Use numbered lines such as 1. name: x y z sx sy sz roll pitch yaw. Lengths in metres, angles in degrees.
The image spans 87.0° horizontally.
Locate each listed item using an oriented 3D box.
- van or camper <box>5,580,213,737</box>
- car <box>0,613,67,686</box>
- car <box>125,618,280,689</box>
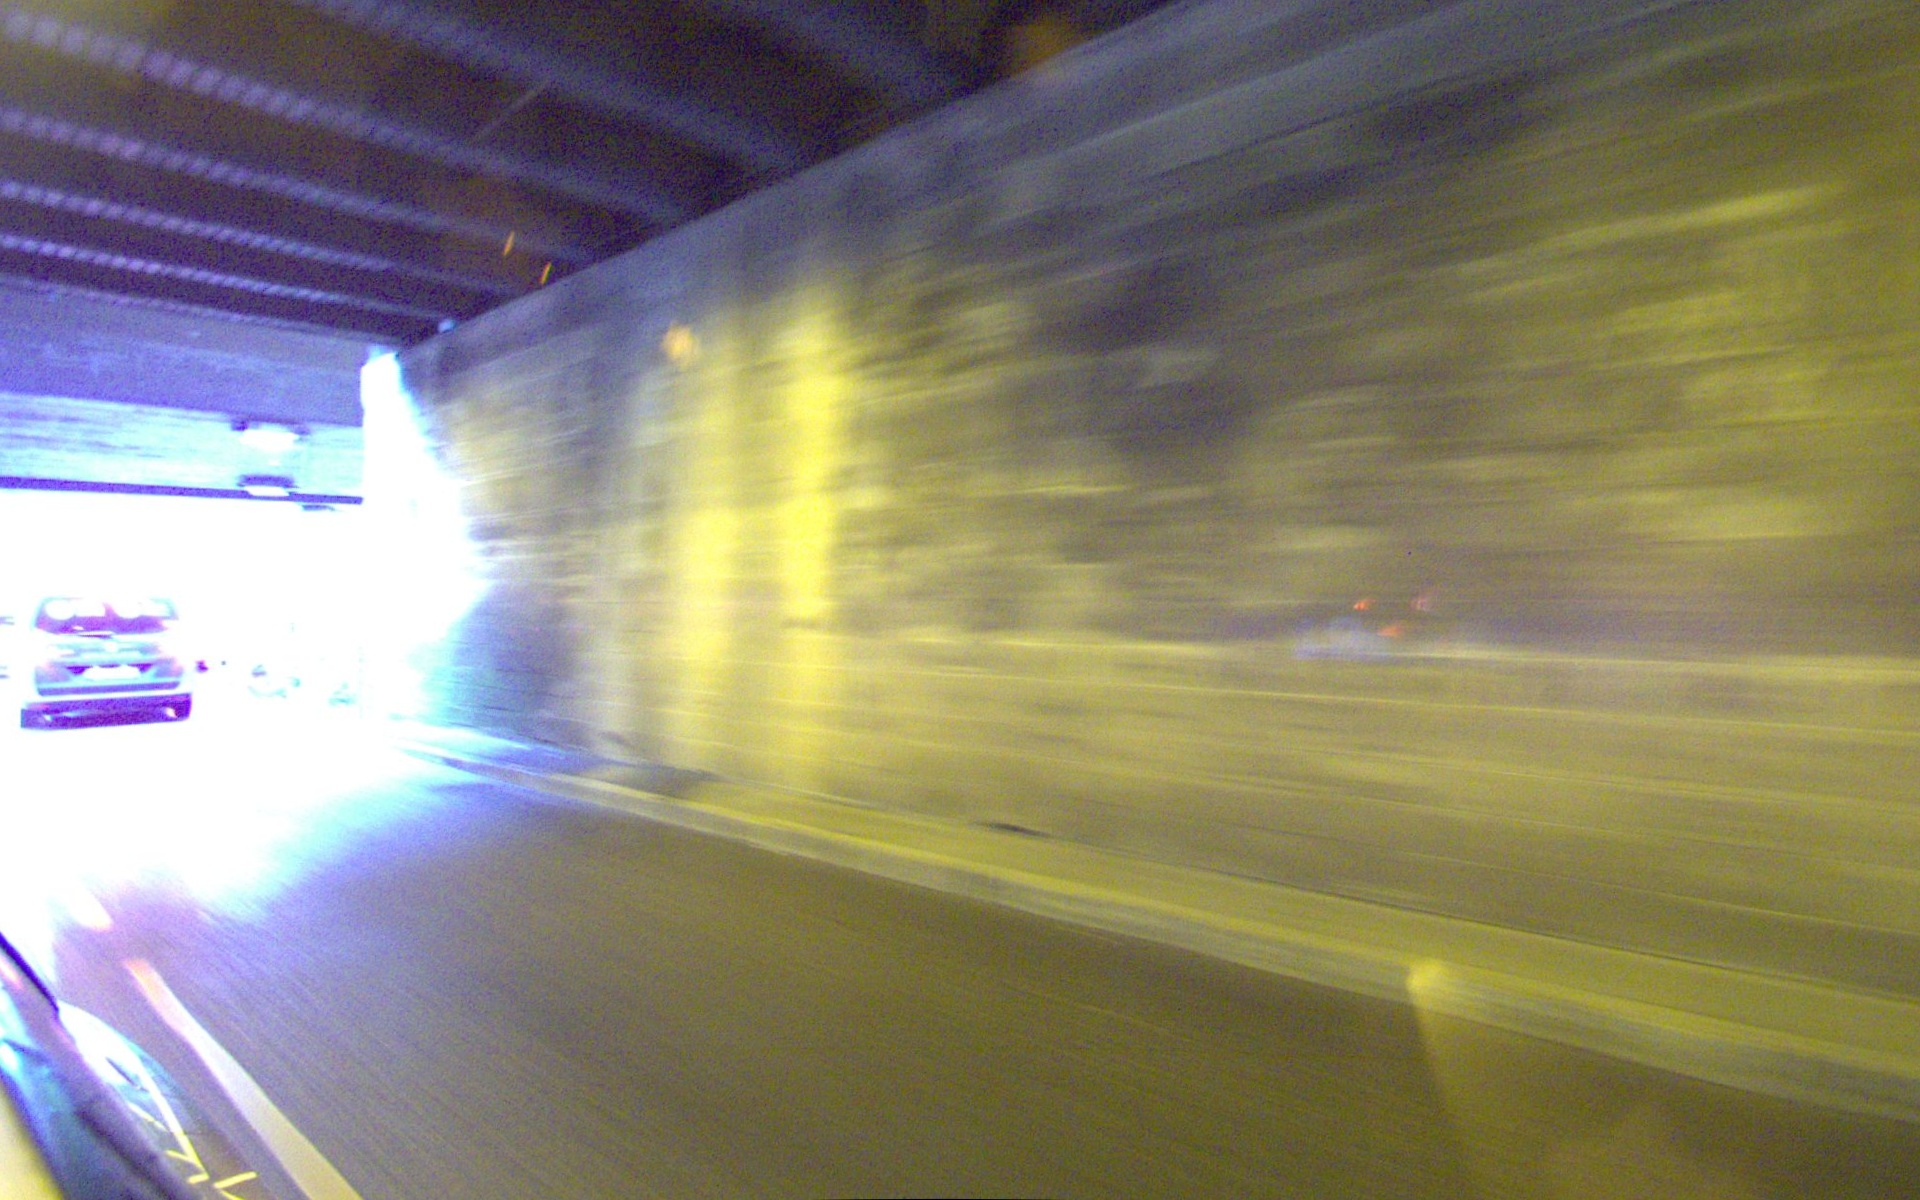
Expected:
1. van or camper: -12.456 0.741 14.678 1.970 1.882 5.144 2 -2 -43
2. car: -22.394 1.152 23.393 1.679 1.569 4.012 2 -4 -28
3. car: -19.891 1.333 26.825 1.966 1.541 4.514 -4 1 -20
